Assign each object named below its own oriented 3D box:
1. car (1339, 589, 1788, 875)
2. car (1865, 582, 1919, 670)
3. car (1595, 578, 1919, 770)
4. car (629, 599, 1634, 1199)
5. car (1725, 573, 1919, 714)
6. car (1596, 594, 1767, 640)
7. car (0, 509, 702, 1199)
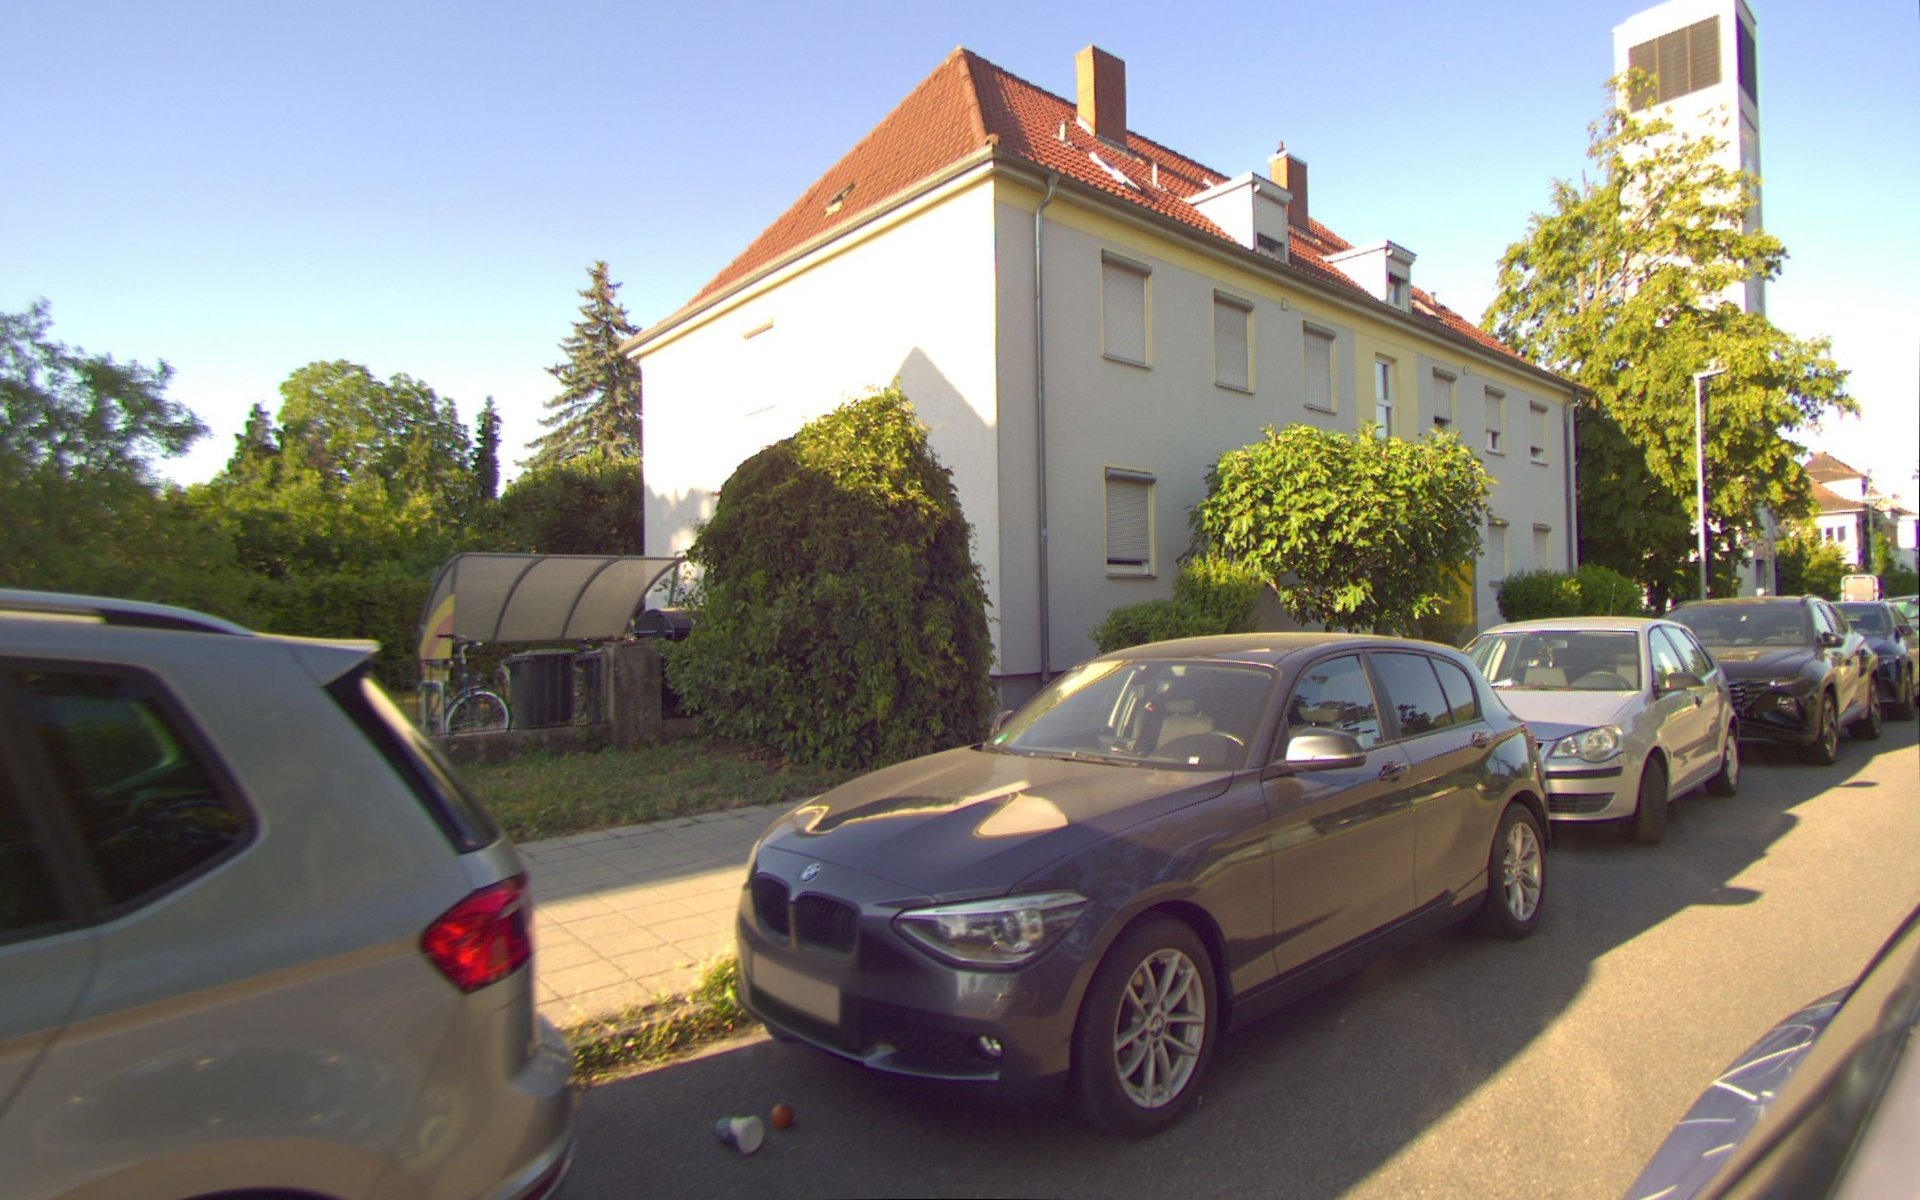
[{"bbox_3d":[4.770,0.803,7.730,4.137,1.568,1.729,-1,-5,-43],"label":"car"},{"bbox_3d":[21.250,0.470,21.874,4.945,1.754,1.834,-1,-3,-41],"label":"car"},{"bbox_3d":[8.898,0.679,11.129,4.734,1.679,1.857,0,-2,-40],"label":"car"},{"bbox_3d":[1.081,0.789,4.566,4.480,1.481,1.997,0,-3,-39],"label":"car"},{"bbox_3d":[12.965,0.596,14.727,4.540,1.743,1.935,0,-4,-41],"label":"car"},{"bbox_3d":[26.810,0.663,37.747,1.969,1.504,4.854,-5,1,-41],"label":"car"},{"bbox_3d":[-2.668,0.702,1.124,4.343,1.581,1.726,0,-2,-44],"label":"car"}]
